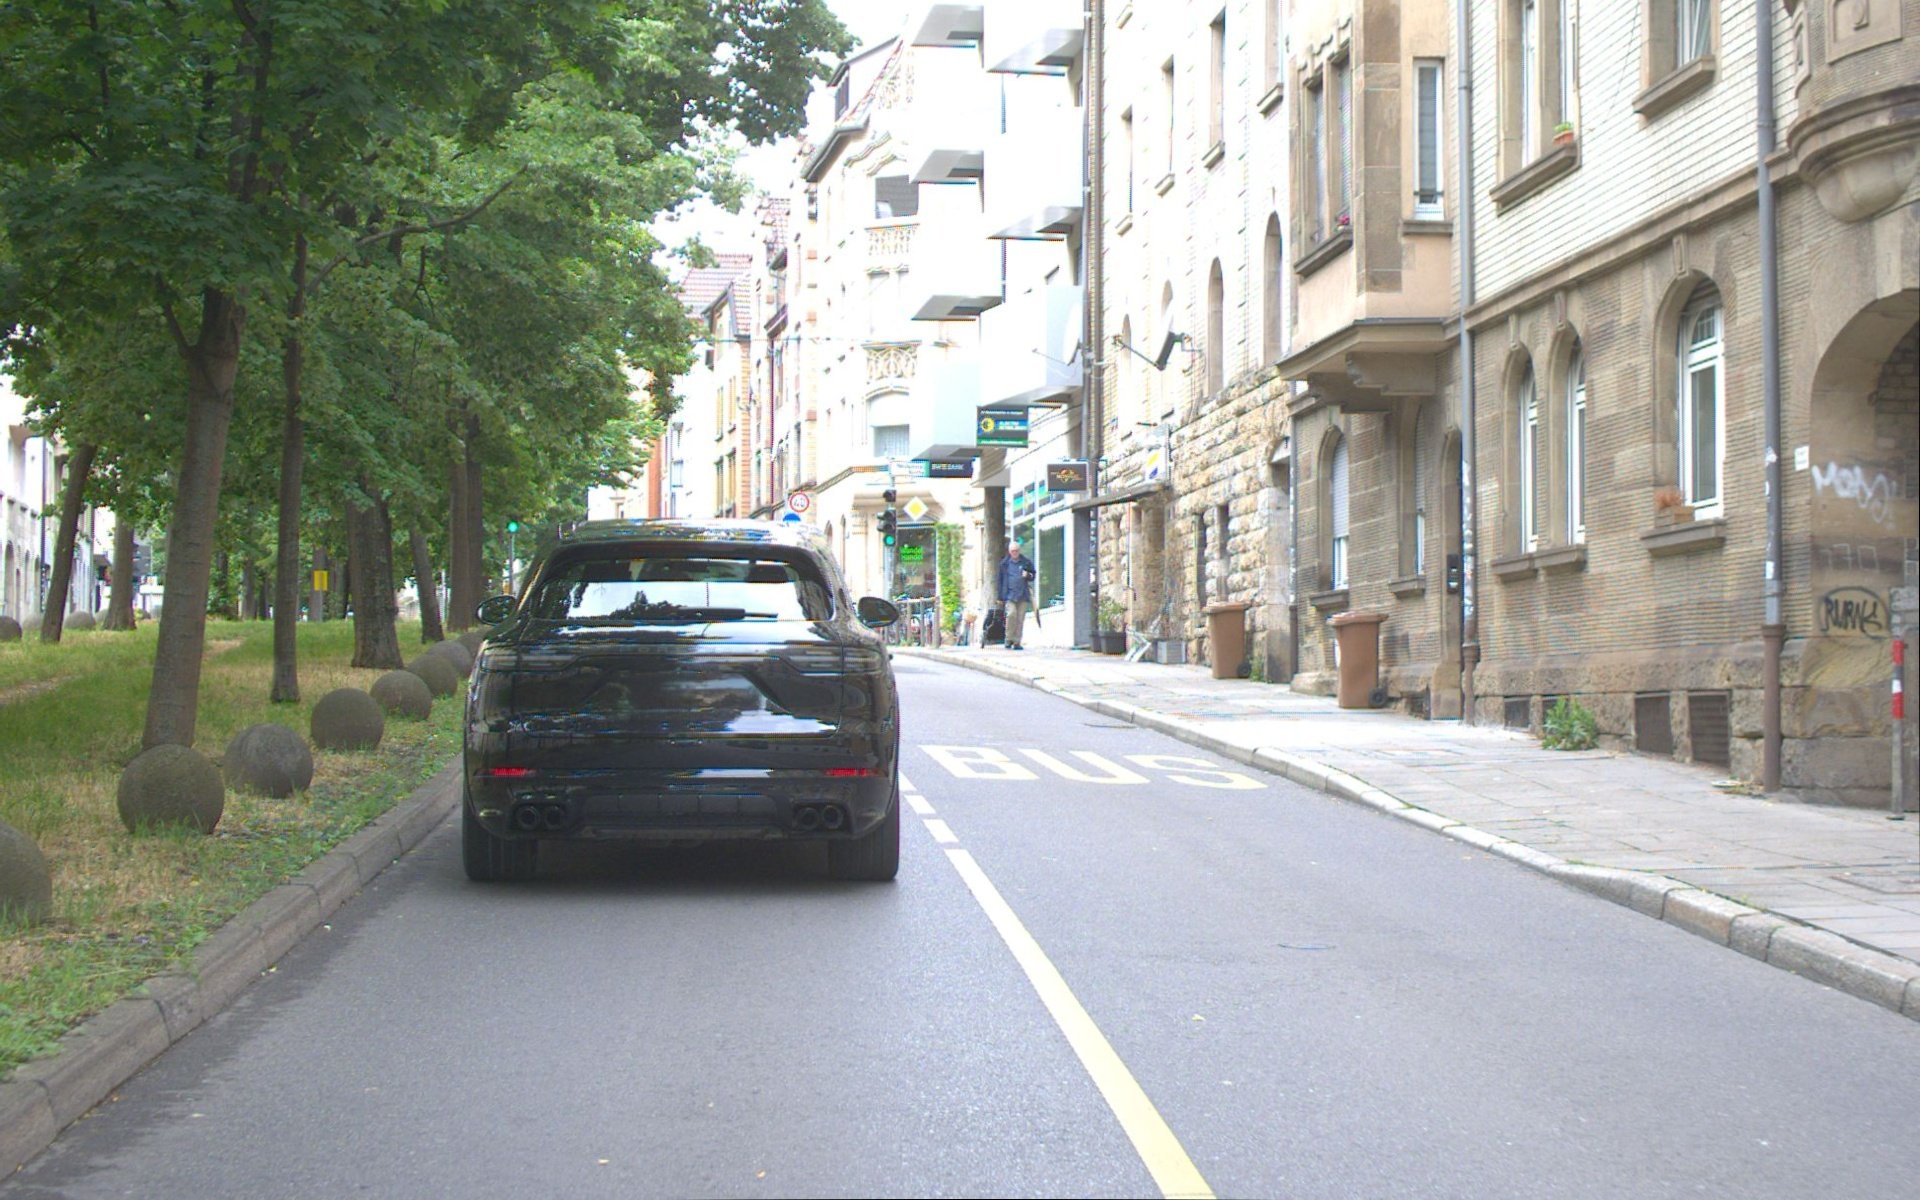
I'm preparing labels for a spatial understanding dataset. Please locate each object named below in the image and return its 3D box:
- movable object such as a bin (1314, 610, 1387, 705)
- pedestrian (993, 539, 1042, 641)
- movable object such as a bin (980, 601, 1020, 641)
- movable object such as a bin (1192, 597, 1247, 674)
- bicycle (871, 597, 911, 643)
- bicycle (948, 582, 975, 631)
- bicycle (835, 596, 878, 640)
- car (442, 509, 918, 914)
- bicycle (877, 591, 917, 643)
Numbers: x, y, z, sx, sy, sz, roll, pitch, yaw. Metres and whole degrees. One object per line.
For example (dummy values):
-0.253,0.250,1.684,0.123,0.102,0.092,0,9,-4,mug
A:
3.779,0.554,33.292,0.594,0.901,0.563,1,0,-4,movable object such as a bin
0.965,-0.163,57.900,0.751,1.687,0.858,0,-1,-5,pedestrian
0.680,0.363,58.736,0.607,0.666,0.858,0,-1,-5,movable object such as a bin
3.151,0.433,41.767,0.594,0.901,0.503,1,-3,-4,movable object such as a bin
-1.414,0.409,70.353,0.286,0.928,1.761,2,-1,-19,bicycle
0.032,0.160,90.968,0.446,1.157,1.835,0,4,-8,bicycle
-2.800,0.490,92.973,0.879,1.125,2.980,1,-1,-7,bicycle
-1.299,0.429,16.672,1.993,1.660,4.001,1,2,-3,car
-1.301,0.358,70.789,0.286,1.051,1.761,2,-1,-19,bicycle
